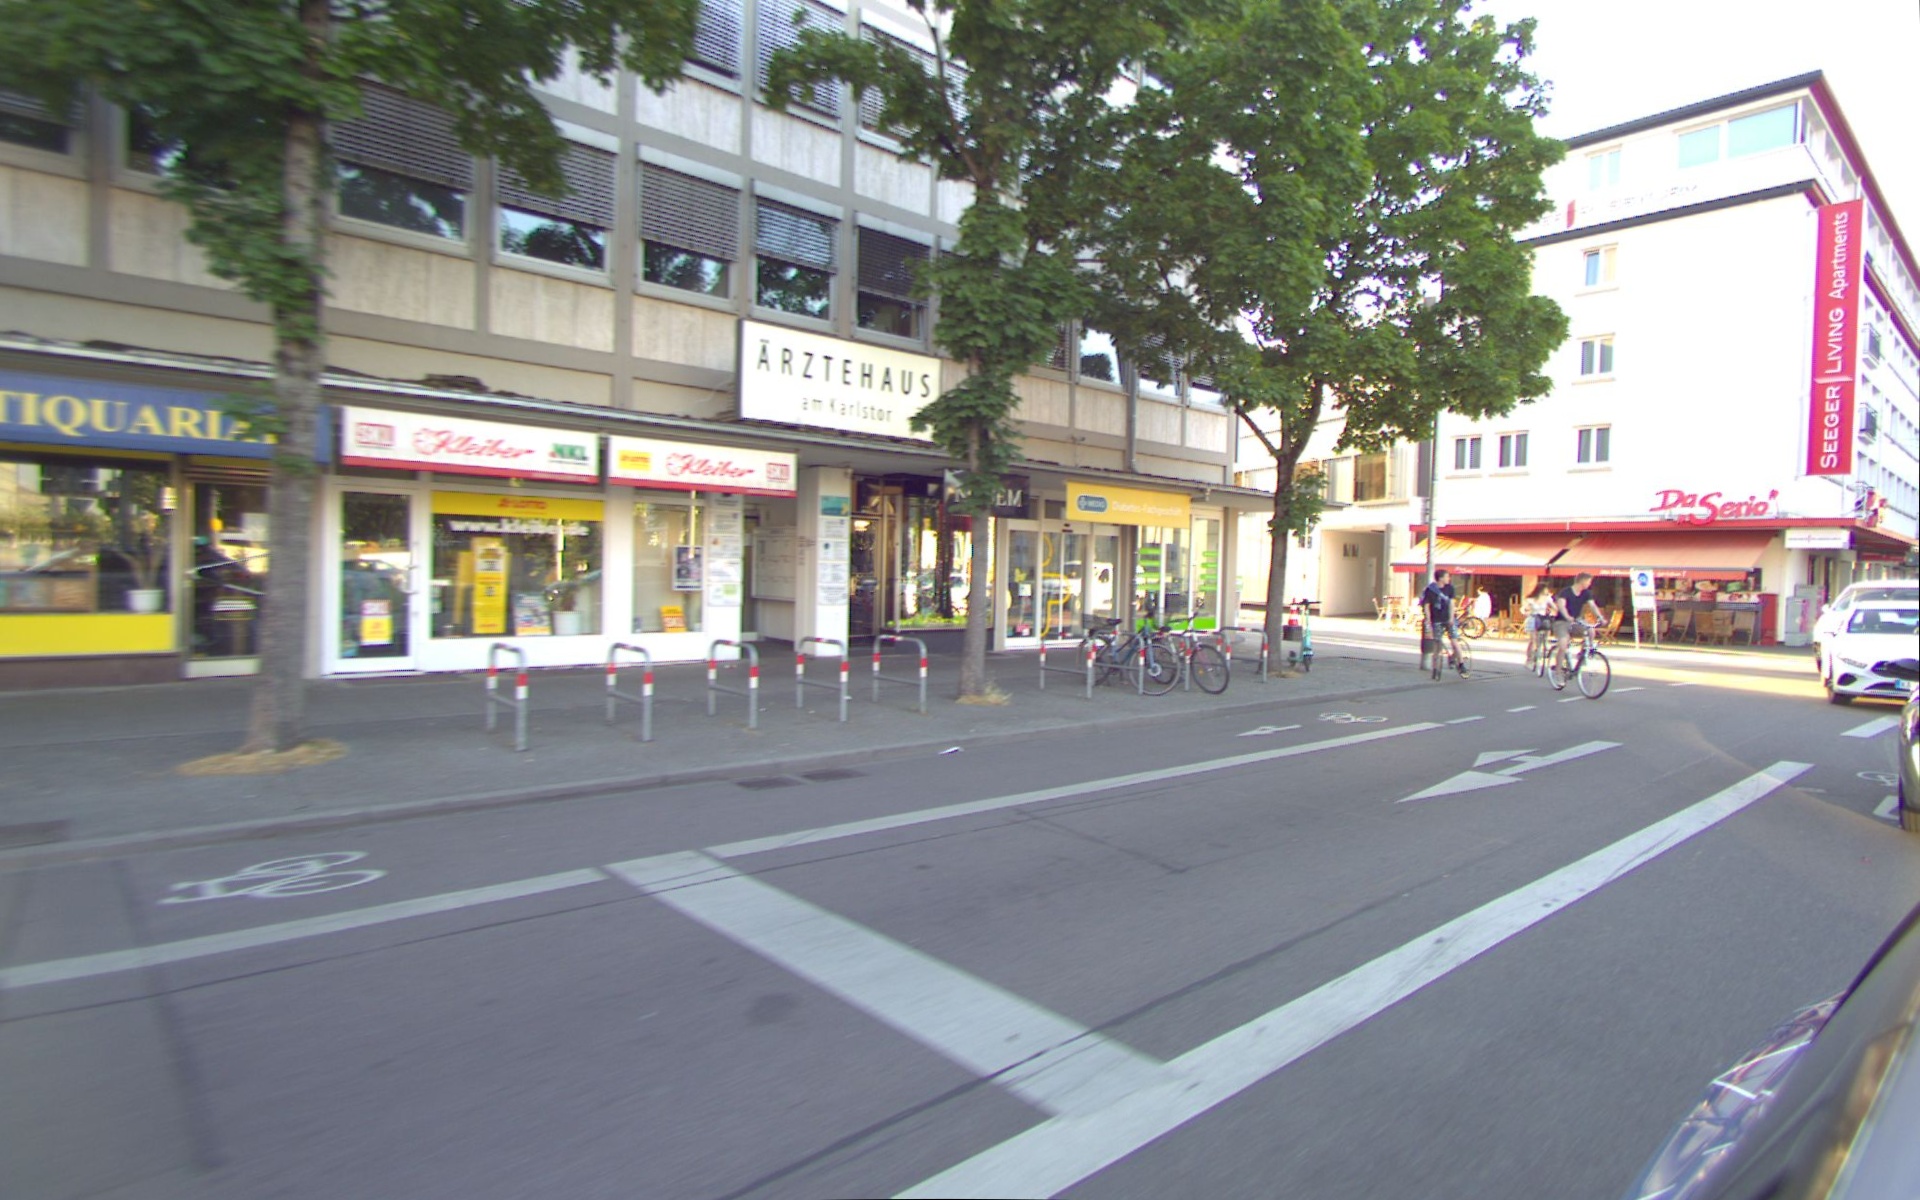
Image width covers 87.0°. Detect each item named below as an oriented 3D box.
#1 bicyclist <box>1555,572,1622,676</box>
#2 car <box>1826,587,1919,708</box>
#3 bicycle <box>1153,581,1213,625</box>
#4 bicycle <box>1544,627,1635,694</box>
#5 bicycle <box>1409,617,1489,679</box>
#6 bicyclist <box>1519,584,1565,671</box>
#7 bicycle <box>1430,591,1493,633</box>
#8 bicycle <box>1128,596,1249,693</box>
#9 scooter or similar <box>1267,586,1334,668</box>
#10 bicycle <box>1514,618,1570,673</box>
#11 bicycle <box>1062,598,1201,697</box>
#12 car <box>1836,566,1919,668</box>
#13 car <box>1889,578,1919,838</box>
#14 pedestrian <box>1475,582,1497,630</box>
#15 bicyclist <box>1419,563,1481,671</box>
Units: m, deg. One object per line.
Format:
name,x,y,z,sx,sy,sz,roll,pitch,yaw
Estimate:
bicyclist,9.463,0.339,15.257,0.605,1.505,0.715,2,1,14
car,14.104,0.614,14.620,4.485,1.466,1.814,-2,3,-42
bicycle,6.653,0.083,30.140,1.682,1.201,0.541,3,0,-24
bicycle,9.451,0.882,15.264,0.606,0.835,1.798,2,2,14
bicycle,8.231,0.784,17.018,1.662,0.912,0.674,-1,2,-44
bicyclist,10.416,0.473,18.127,0.582,1.505,0.713,2,2,22
bicycle,15.406,0.342,31.121,0.589,1.181,1.635,-3,4,-35
bicycle,3.166,0.588,14.150,0.529,1.199,1.636,0,3,-40
scooter or similar,5.901,0.449,17.608,0.504,1.338,1.283,1,2,-11
bicycle,10.388,0.792,18.101,0.593,0.835,1.728,2,2,22
bicycle,2.299,0.599,13.691,1.740,1.154,0.656,4,3,42
car,19.369,0.331,20.150,4.786,1.861,2.000,1,1,-38
car,7.833,0.648,7.035,1.912,1.522,4.628,3,3,44
pedestrian,16.596,0.178,31.932,0.503,1.467,0.503,2,1,22
bicyclist,8.226,0.269,16.991,0.797,1.748,0.664,0,2,-44
